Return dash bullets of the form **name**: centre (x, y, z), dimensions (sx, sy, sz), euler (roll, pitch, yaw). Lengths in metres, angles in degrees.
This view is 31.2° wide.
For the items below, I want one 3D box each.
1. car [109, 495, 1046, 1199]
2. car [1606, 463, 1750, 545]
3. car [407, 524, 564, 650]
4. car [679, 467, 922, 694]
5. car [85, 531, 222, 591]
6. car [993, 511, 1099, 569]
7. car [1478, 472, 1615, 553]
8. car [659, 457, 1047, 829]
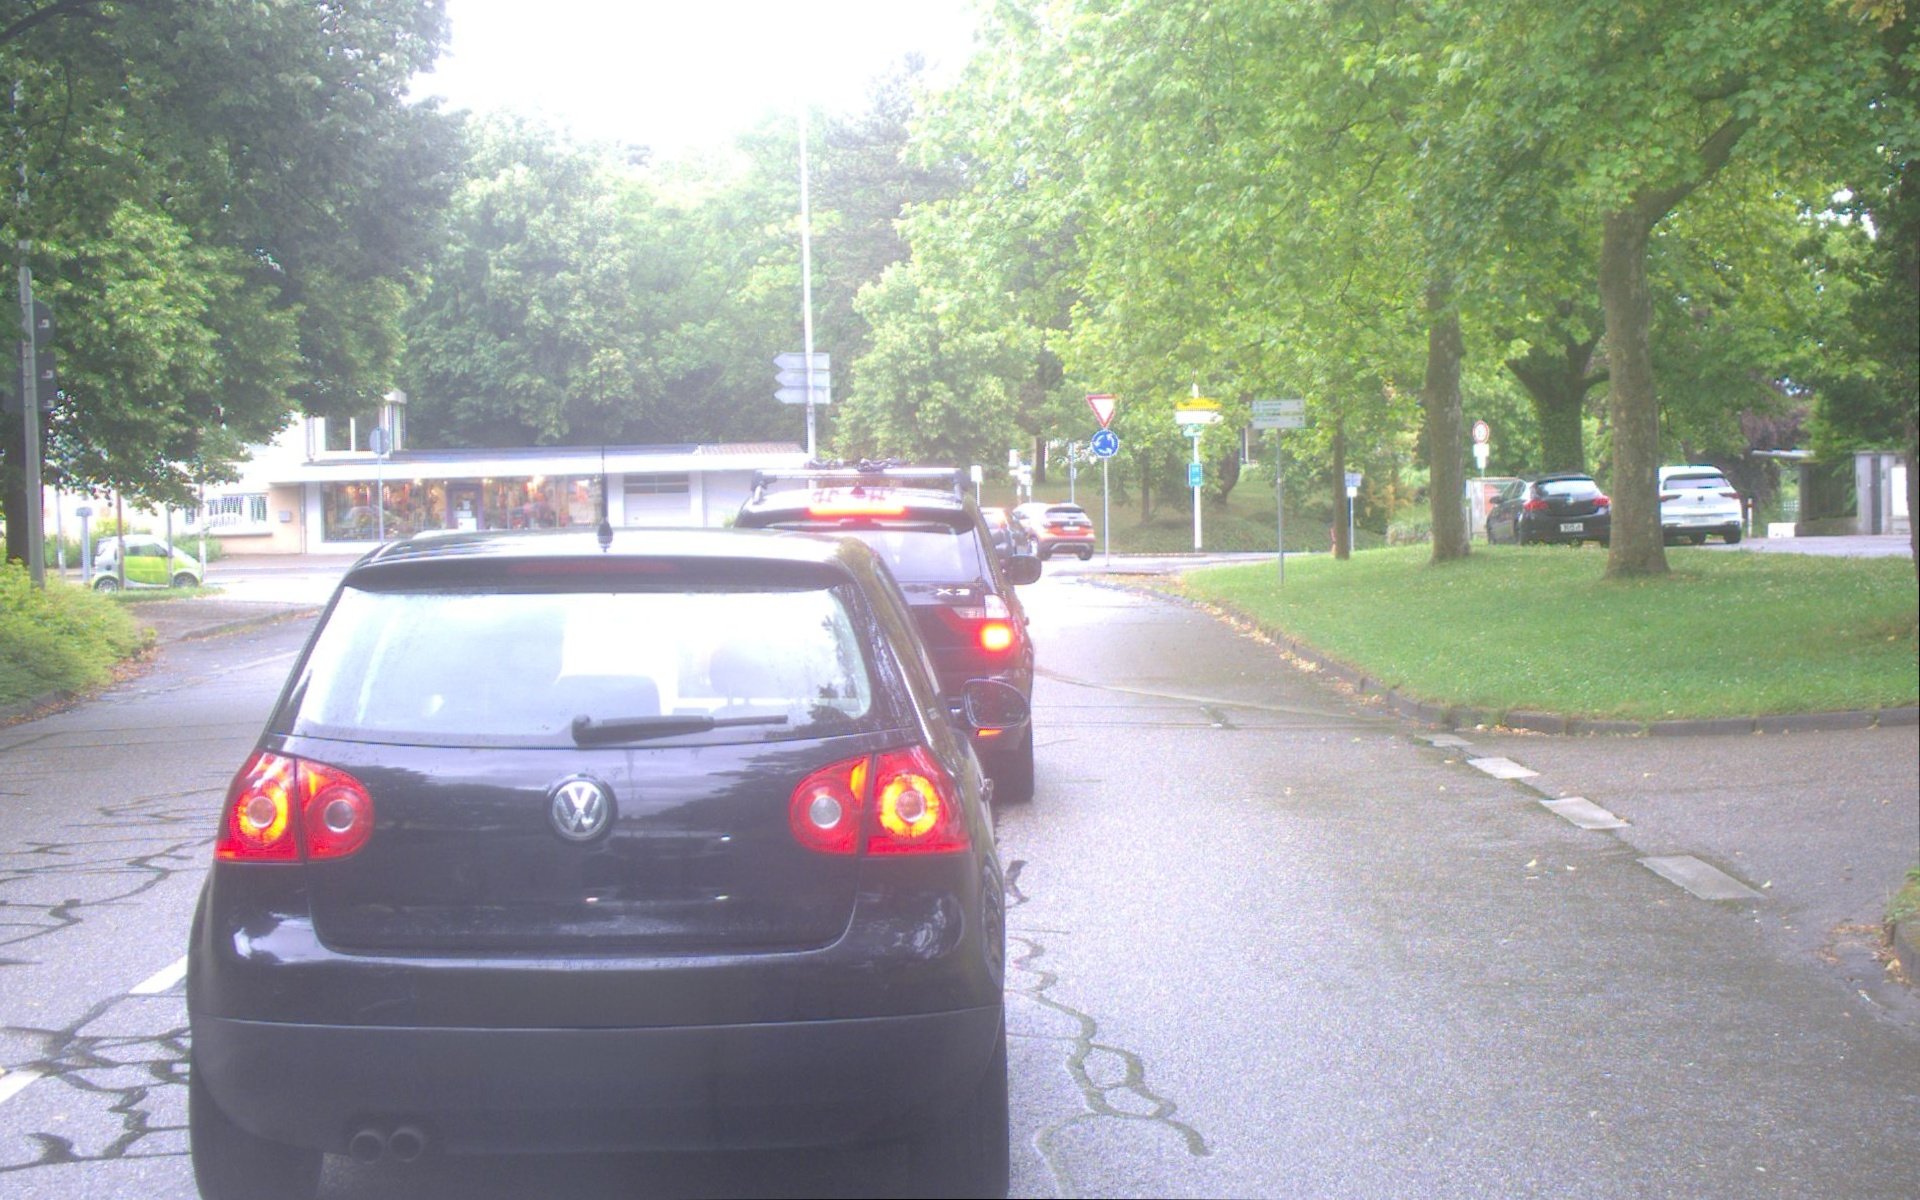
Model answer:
- **car**: centre (-0.731, 0.523, 8.480), dimensions (1.798, 1.510, 3.754), euler (0, 1, 0)
- **car**: centre (13.516, -1.818, 64.896), dimensions (1.803, 1.401, 4.001), euler (-3, 2, 0)
- **car**: centre (-6.074, -0.207, 44.359), dimensions (1.608, 1.422, 4.009), euler (-2, 2, -3)
- **car**: centre (-1.304, -0.191, 29.618), dimensions (1.855, 1.778, 4.000), euler (-1, 1, 0)
- **car**: centre (-19.300, -0.938, 82.382), dimensions (3.119, 1.305, 1.540), euler (-3, 1, -12)
- **car**: centre (2.360, -1.655, 95.172), dimensions (1.706, 1.508, 3.674), euler (-2, 1, -19)
- **car**: centre (11.023, -1.657, 64.834), dimensions (1.803, 1.380, 4.001), euler (-3, 2, 0)
- **car**: centre (-0.522, 0.154, 18.815), dimensions (1.855, 1.778, 4.000), euler (-1, 2, 0)
